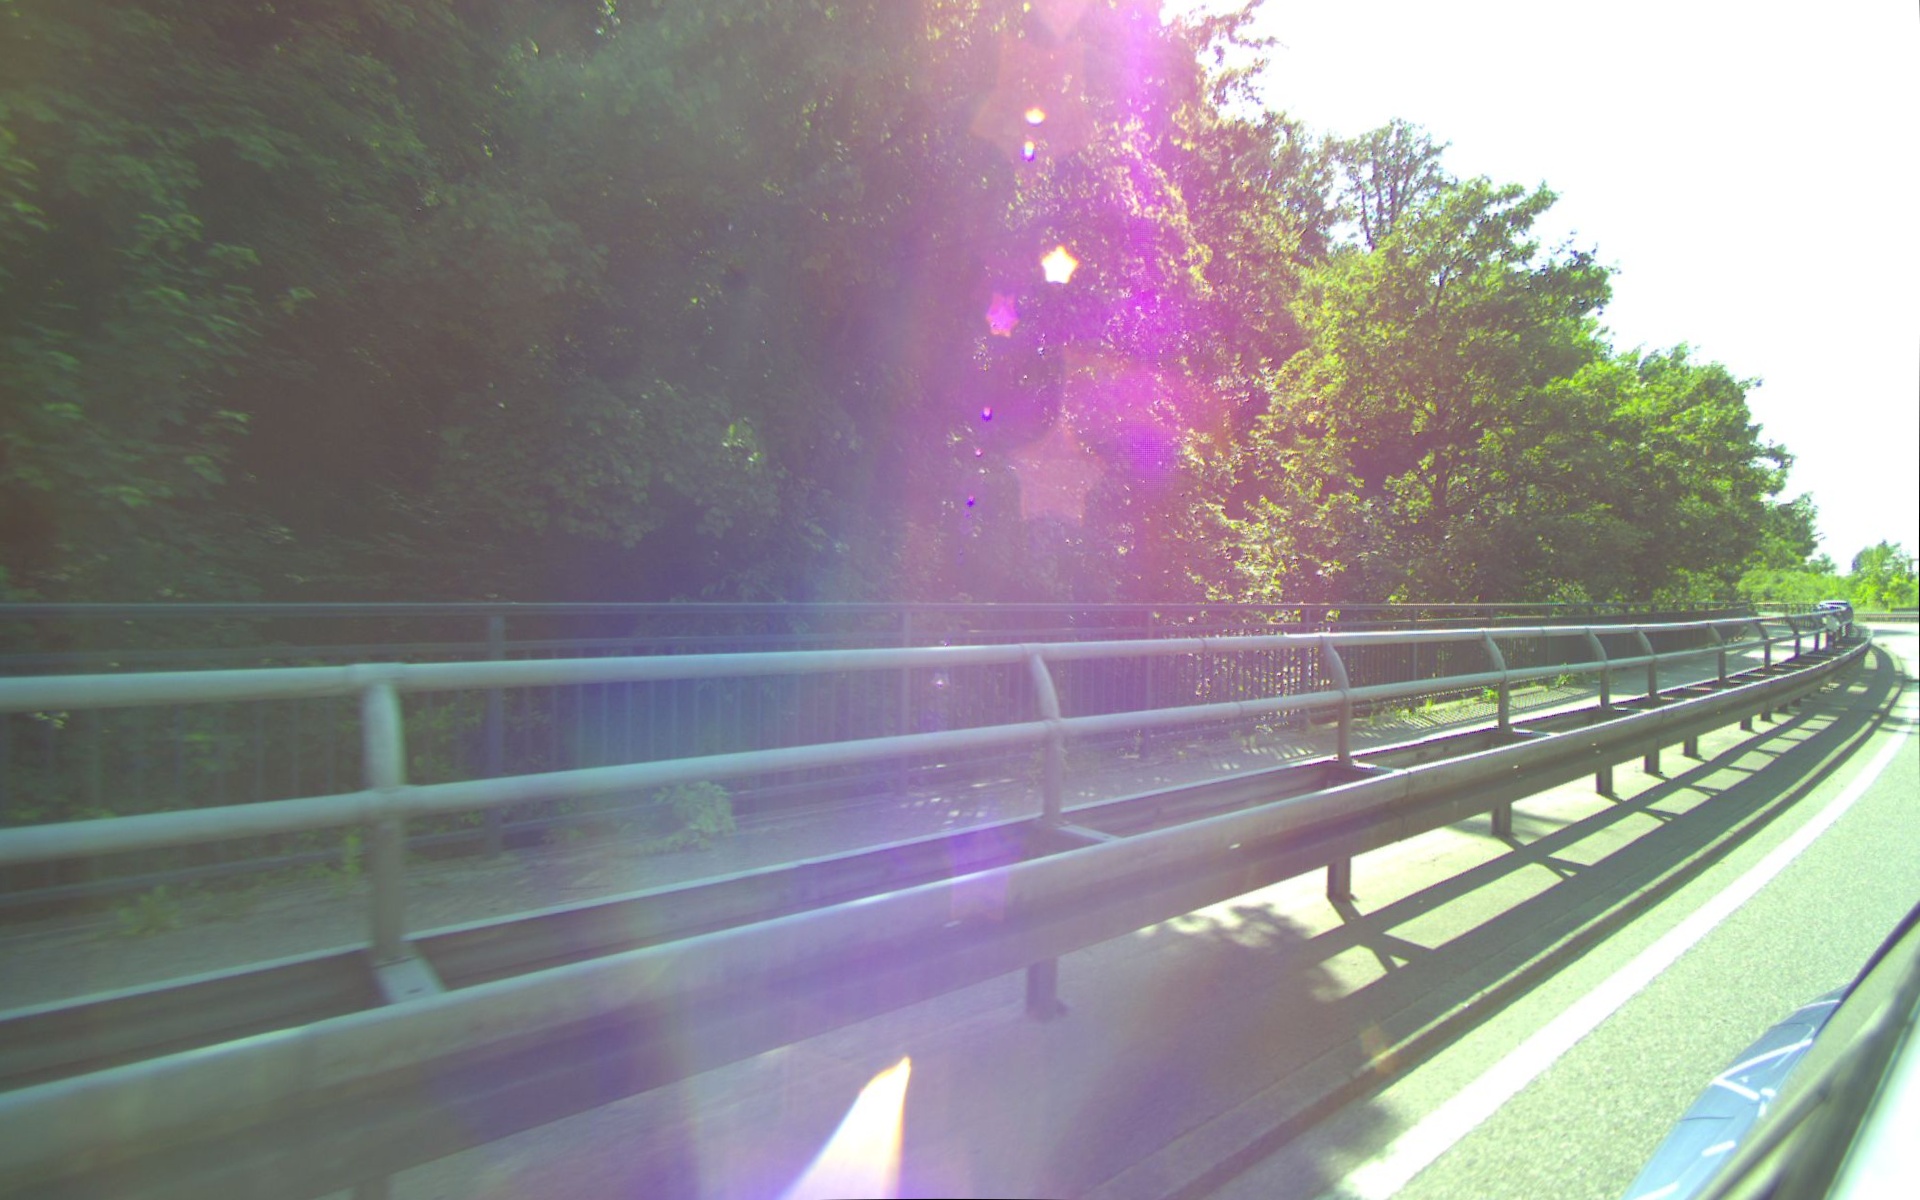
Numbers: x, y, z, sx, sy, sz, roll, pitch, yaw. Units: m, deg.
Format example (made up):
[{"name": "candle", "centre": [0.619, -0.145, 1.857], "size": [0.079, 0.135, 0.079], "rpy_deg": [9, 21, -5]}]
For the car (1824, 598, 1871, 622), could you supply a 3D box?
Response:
[{"name": "car", "centre": [64.784, 0.701, 73.947], "size": [1.890, 1.600, 4.503], "rpy_deg": [0, 1, 32]}]
